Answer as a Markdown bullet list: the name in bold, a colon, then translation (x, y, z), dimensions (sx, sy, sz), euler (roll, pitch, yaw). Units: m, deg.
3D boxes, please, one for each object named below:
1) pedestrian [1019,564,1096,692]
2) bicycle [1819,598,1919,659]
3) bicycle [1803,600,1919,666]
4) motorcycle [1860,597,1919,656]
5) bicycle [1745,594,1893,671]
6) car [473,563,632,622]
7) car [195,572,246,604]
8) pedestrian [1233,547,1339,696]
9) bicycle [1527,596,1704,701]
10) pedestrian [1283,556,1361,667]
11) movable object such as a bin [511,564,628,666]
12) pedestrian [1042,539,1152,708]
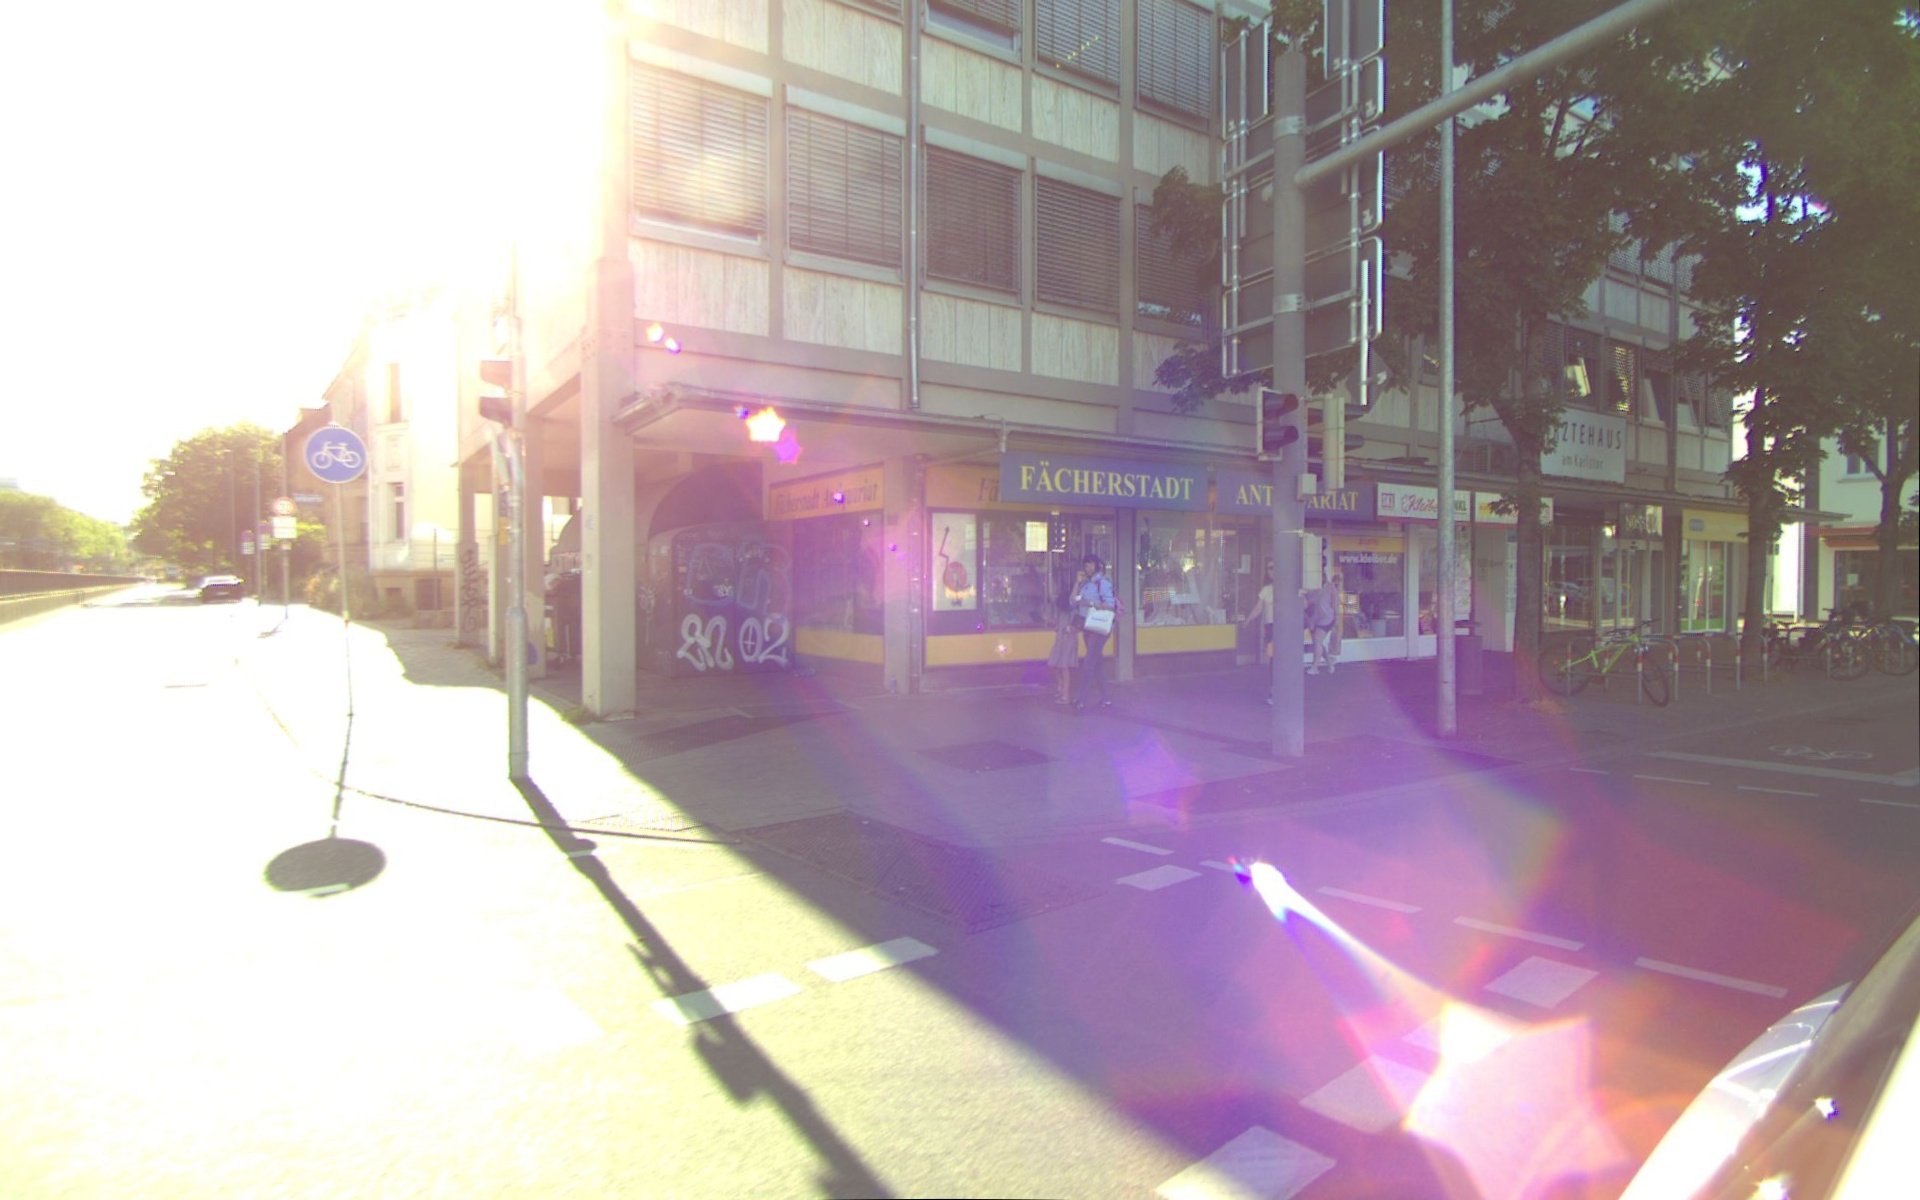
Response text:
- **pedestrian**: translation (1.137, 0.305, 11.848), dimensions (0.609, 1.440, 0.647), euler (-1, 1, -30)
- **bicycle**: translation (17.419, 0.527, 19.038), dimensions (0.392, 1.069, 1.853), euler (-2, 3, -42)
- **bicycle**: translation (15.973, 0.556, 17.770), dimensions (0.448, 1.070, 1.776), euler (-1, 1, -26)
- **motorcycle**: translation (19.124, 0.519, 20.108), dimensions (0.494, 1.144, 1.794), euler (-1, 1, -30)
- **bicycle**: translation (14.221, 0.514, 16.803), dimensions (0.427, 1.166, 1.815), euler (-2, 2, -35)
- **car**: translation (-11.824, -0.266, 29.453), dimensions (3.953, 1.578, 1.801), euler (-2, 2, -37)
- **car**: translation (-38.804, -0.672, 53.181), dimensions (1.656, 1.616, 3.898), euler (-1, 2, -29)
- **pedestrian**: translation (3.952, 0.230, 12.286), dimensions (0.863, 1.728, 0.846), euler (-2, 1, -32)
- **bicycle**: translation (8.444, 0.588, 13.131), dimensions (0.471, 1.170, 1.898), euler (-1, 3, -30)
- **pedestrian**: translation (5.513, 0.159, 15.408), dimensions (0.842, 1.622, 0.867), euler (0, 1, 42)
- **movable object such as a bin**: translation (-6.306, 0.187, 16.271), dimensions (1.423, 1.487, 1.918), euler (-3, 3, -30)
- **pedestrian**: translation (1.494, 0.235, 11.031), dimensions (0.875, 1.742, 0.834), euler (0, 1, 38)
